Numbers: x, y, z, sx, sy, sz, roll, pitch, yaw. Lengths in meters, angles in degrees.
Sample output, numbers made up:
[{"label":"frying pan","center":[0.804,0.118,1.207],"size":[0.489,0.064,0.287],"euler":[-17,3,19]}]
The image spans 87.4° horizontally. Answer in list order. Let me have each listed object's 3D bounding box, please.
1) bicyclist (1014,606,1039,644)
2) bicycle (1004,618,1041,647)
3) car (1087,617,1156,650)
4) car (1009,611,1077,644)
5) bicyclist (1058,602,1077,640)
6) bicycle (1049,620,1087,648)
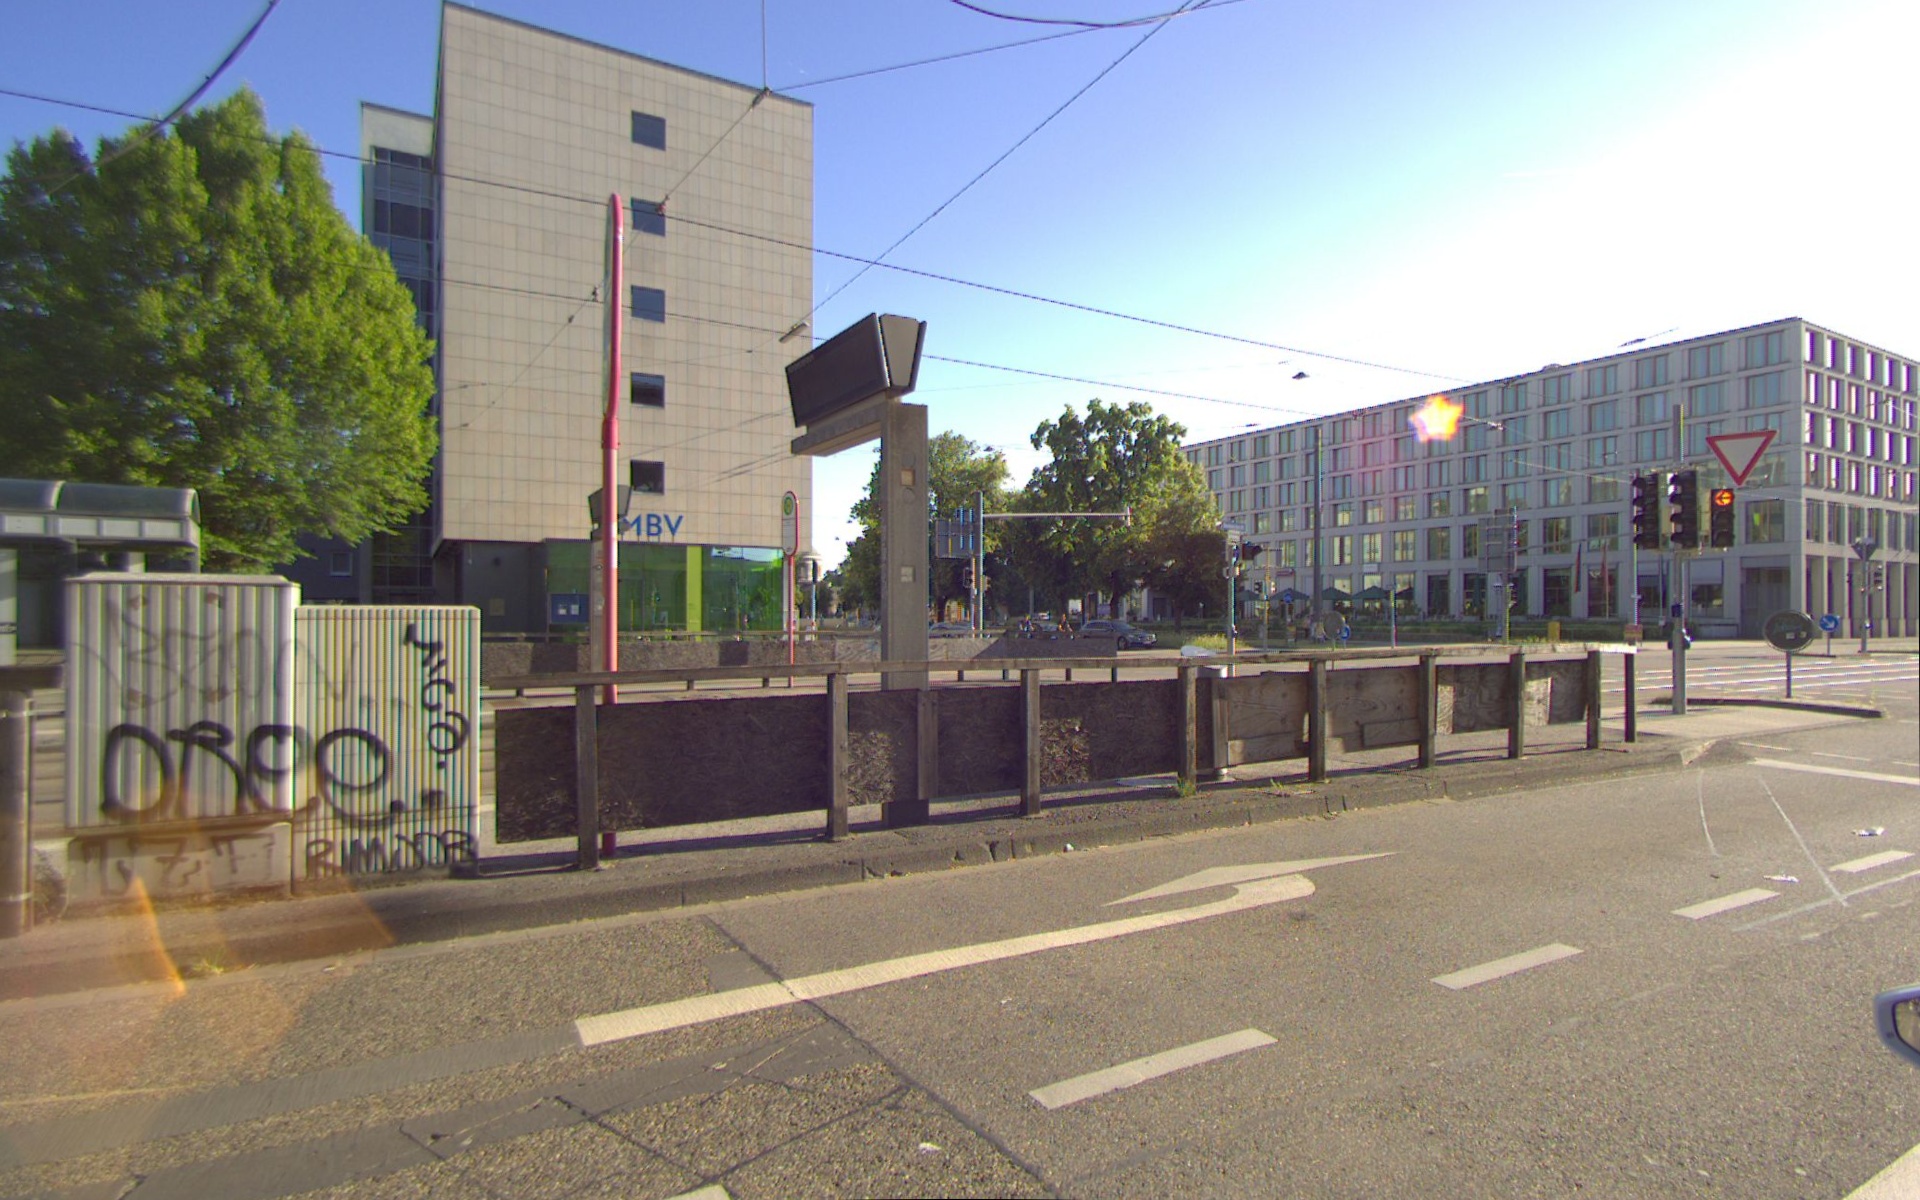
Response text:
[{"label":"bicyclist","center":[2.997,1.121,45.536],"size":[0.833,1.717,0.887],"euler":[0,-1,-24]},{"label":"bicycle","center":[2.842,1.469,45.823],"size":[0.874,1.305,2.043],"euler":[0,-1,-24]},{"label":"car","center":[8.066,1.653,50.365],"size":[1.505,1.526,3.511],"euler":[1,0,-32]},{"label":"car","center":[4.012,1.323,48.969],"size":[1.505,1.526,3.511],"euler":[1,0,-32]},{"label":"bicyclist","center":[4.604,0.907,43.138],"size":[0.586,1.603,0.616],"euler":[0,-1,-26]},{"label":"bicycle","center":[4.623,1.443,43.112],"size":[0.779,1.137,1.917],"euler":[1,-1,-25]}]
